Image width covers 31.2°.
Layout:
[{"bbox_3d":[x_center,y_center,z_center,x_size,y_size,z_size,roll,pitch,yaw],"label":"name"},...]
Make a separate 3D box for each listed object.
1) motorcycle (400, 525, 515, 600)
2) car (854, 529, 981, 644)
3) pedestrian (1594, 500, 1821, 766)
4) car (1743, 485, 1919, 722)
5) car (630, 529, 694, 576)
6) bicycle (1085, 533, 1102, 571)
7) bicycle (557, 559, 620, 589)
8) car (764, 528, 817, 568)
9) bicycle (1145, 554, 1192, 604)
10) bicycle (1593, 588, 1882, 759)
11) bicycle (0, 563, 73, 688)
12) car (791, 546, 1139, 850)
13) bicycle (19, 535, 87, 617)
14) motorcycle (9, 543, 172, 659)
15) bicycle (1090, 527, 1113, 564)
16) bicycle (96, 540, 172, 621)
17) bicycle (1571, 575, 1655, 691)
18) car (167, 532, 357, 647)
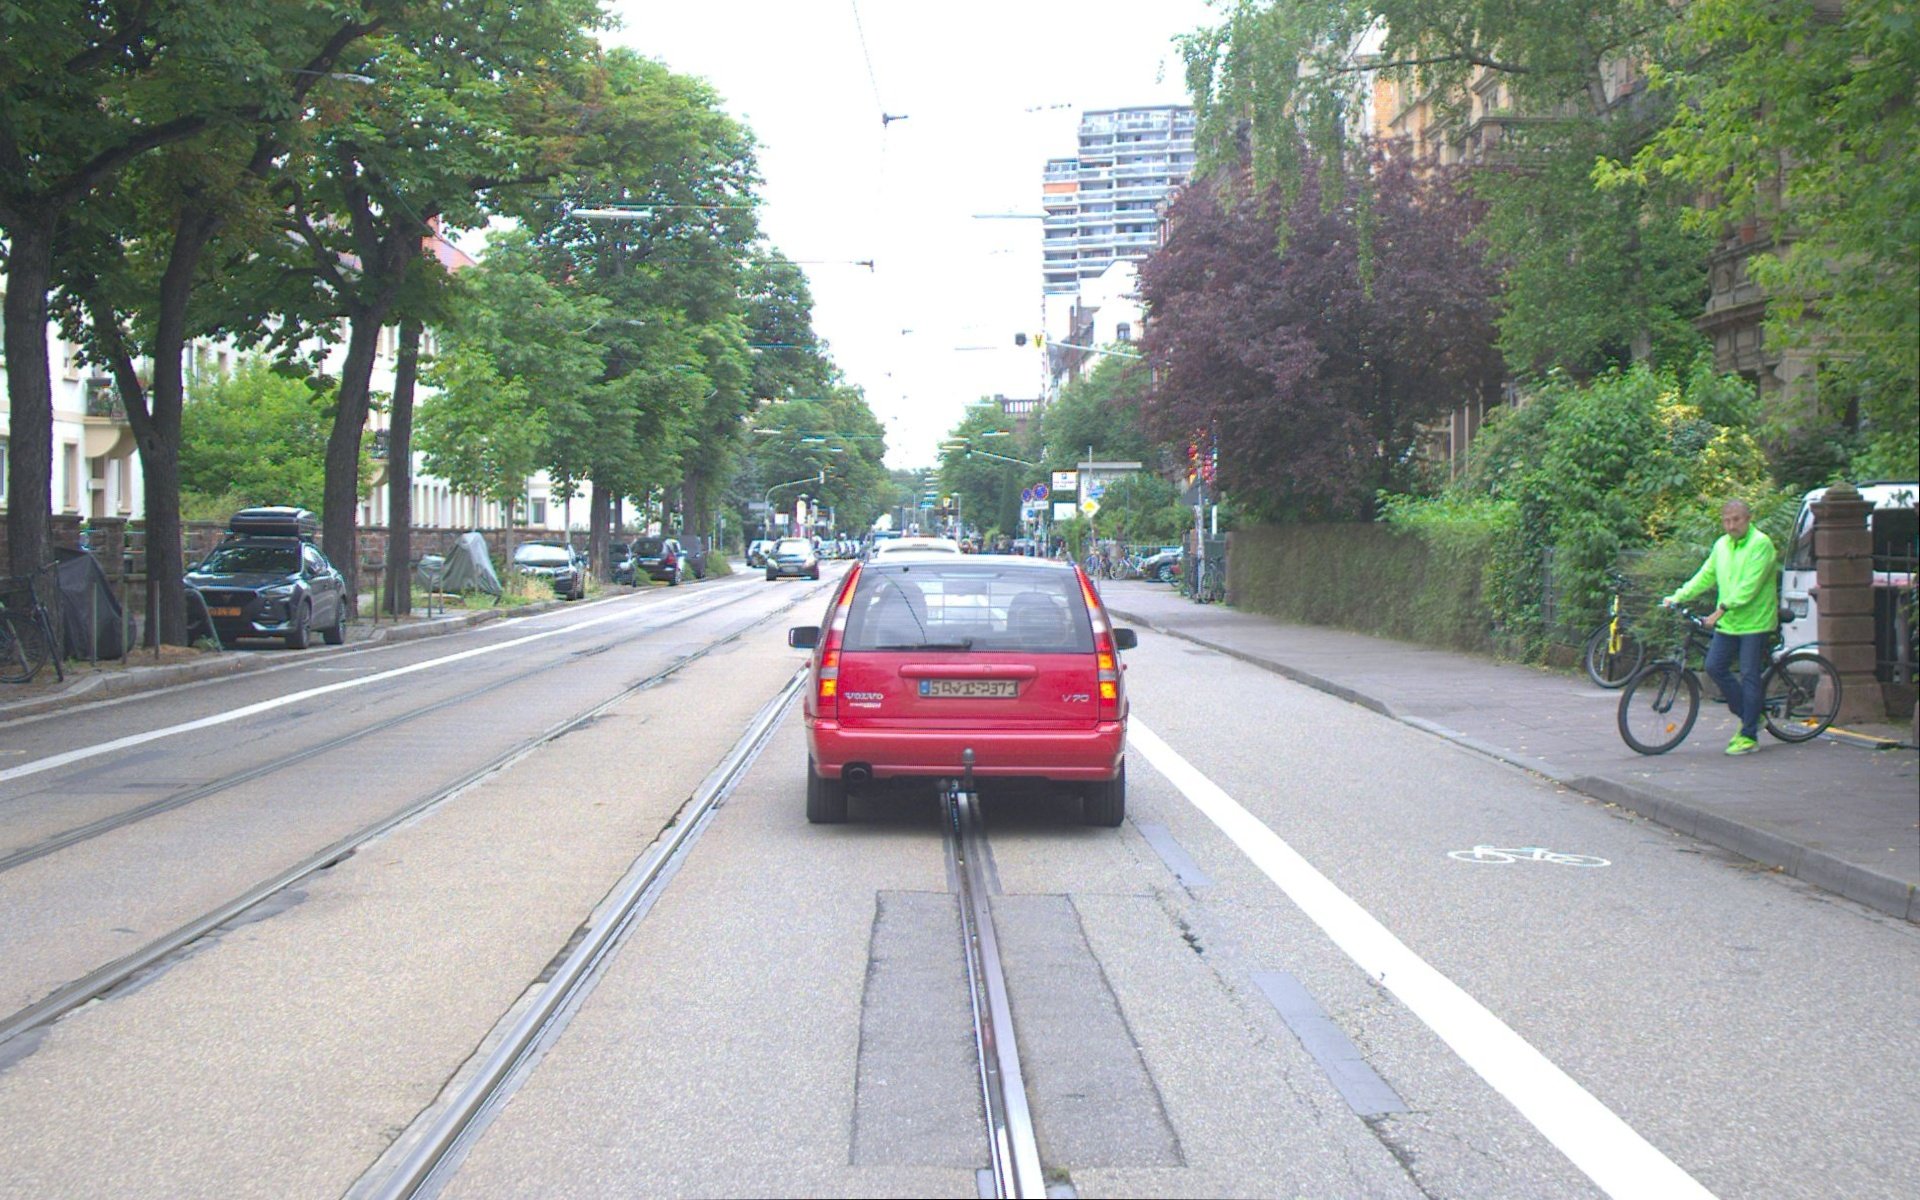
[{"bbox_3d":[-10.207,-0.765,69.830,2.269,1.506,0.925,1,-1,35],"label":"motorcycle"},{"bbox_3d":[-0.588,-0.223,50.718,1.719,1.619,3.941,1,1,1],"label":"car"},{"bbox_3d":[5.124,0.211,23.642,1.228,1.727,1.018,-3,1,-1],"label":"pedestrian"},{"bbox_3d":[8.555,-0.001,27.864,3.987,1.852,1.809,0,1,0],"label":"car"},{"bbox_3d":[-9.940,-1.597,114.920,1.851,1.558,3.943,1,1,-1],"label":"car"},{"bbox_3d":[4.902,-1.777,126.335,0.551,1.395,1.734,0,1,0],"label":"bicycle"},{"bbox_3d":[-10.807,-0.760,100.138,1.748,0.841,0.684,1,1,1],"label":"bicycle"},{"bbox_3d":[-6.017,-1.854,122.337,1.755,1.375,4.027,0,1,-2],"label":"car"},{"bbox_3d":[6.456,-0.658,106.444,0.918,1.501,2.379,1,1,16],"label":"bicycle"},{"bbox_3d":[5.462,0.508,24.200,1.841,1.072,0.606,-3,1,-2],"label":"bicycle"},{"bbox_3d":[-9.802,0.229,34.241,1.744,1.188,0.652,2,1,14],"label":"bicycle"},{"bbox_3d":[0.001,0.458,18.869,1.689,1.436,3.743,1,1,-1],"label":"car"},{"bbox_3d":[-15.475,-0.426,58.711,0.627,1.377,2.141,0,1,-1],"label":"bicycle"},{"bbox_3d":[-9.992,-0.009,39.605,0.864,1.284,2.321,1,1,13],"label":"motorcycle"},{"bbox_3d":[4.930,-1.905,119.904,0.708,1.296,1.904,0,1,0],"label":"bicycle"},{"bbox_3d":[-14.222,-0.347,59.232,0.792,1.377,2.141,0,1,0],"label":"bicycle"},{"bbox_3d":[6.109,0.294,32.216,0.479,1.041,1.531,0,1,0],"label":"bicycle"},{"bbox_3d":[-9.704,-0.180,48.084,1.777,1.505,4.238,1,1,0],"label":"car"}]
